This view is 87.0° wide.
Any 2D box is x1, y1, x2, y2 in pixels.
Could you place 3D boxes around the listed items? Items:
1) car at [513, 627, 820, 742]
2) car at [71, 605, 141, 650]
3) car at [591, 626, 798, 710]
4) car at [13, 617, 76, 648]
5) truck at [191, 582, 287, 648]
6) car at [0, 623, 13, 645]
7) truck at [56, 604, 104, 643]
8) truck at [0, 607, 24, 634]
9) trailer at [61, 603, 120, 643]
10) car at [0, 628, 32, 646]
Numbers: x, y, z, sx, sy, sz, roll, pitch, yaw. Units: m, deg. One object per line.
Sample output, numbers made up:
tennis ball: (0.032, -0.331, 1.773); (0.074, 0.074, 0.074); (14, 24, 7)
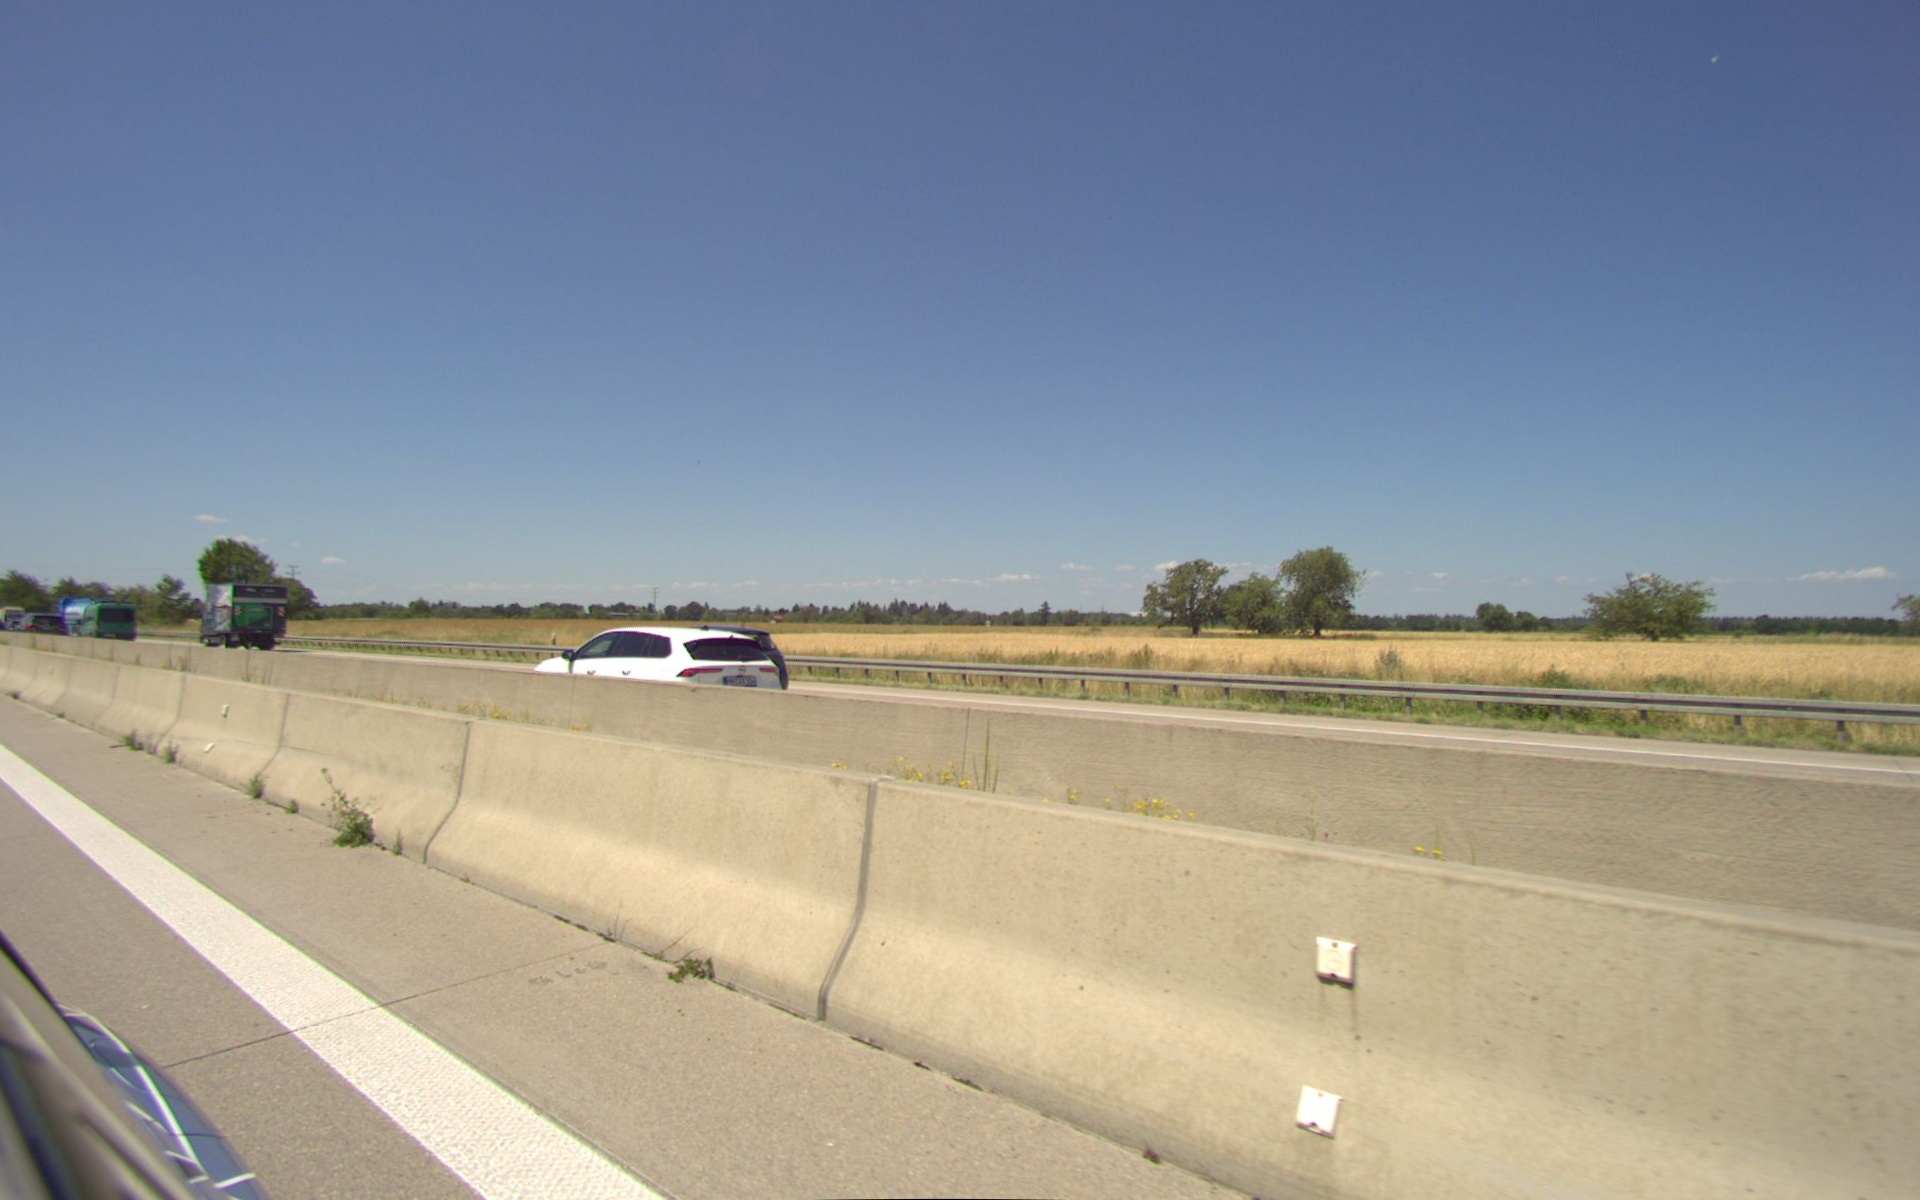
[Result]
car: (-4.297, 1.102, 14.439); (4.667, 1.374, 1.973); (-1, -4, 41)
car: (-51.543, 1.656, 61.035); (6.460, 2.570, 2.127); (-1, -3, 41)
car: (-5.640, 1.369, 21.215); (4.510, 1.572, 1.973); (-1, -4, 41)
car: (-49.765, 1.749, 55.011); (4.846, 1.588, 1.973); (-1, 0, 41)
truck: (-40.816, 0.902, 57.194); (7.880, 3.539, 2.528); (-1, -3, 41)
car: (-71.190, 2.496, 74.311); (4.886, 1.569, 1.920); (-1, -2, 41)
truck: (-78.443, 2.077, 90.231); (5.260, 3.334, 2.459); (-1, 0, 40)
truck: (-115.284, 2.465, 122.385); (6.974, 3.107, 2.298); (-1, 0, 41)
trailer: (-75.230, 1.973, 87.492); (9.246, 3.297, 2.489); (-1, 0, 40)
car: (-82.648, 3.203, 88.447); (4.705, 1.459, 1.702); (-1, 0, 41)
